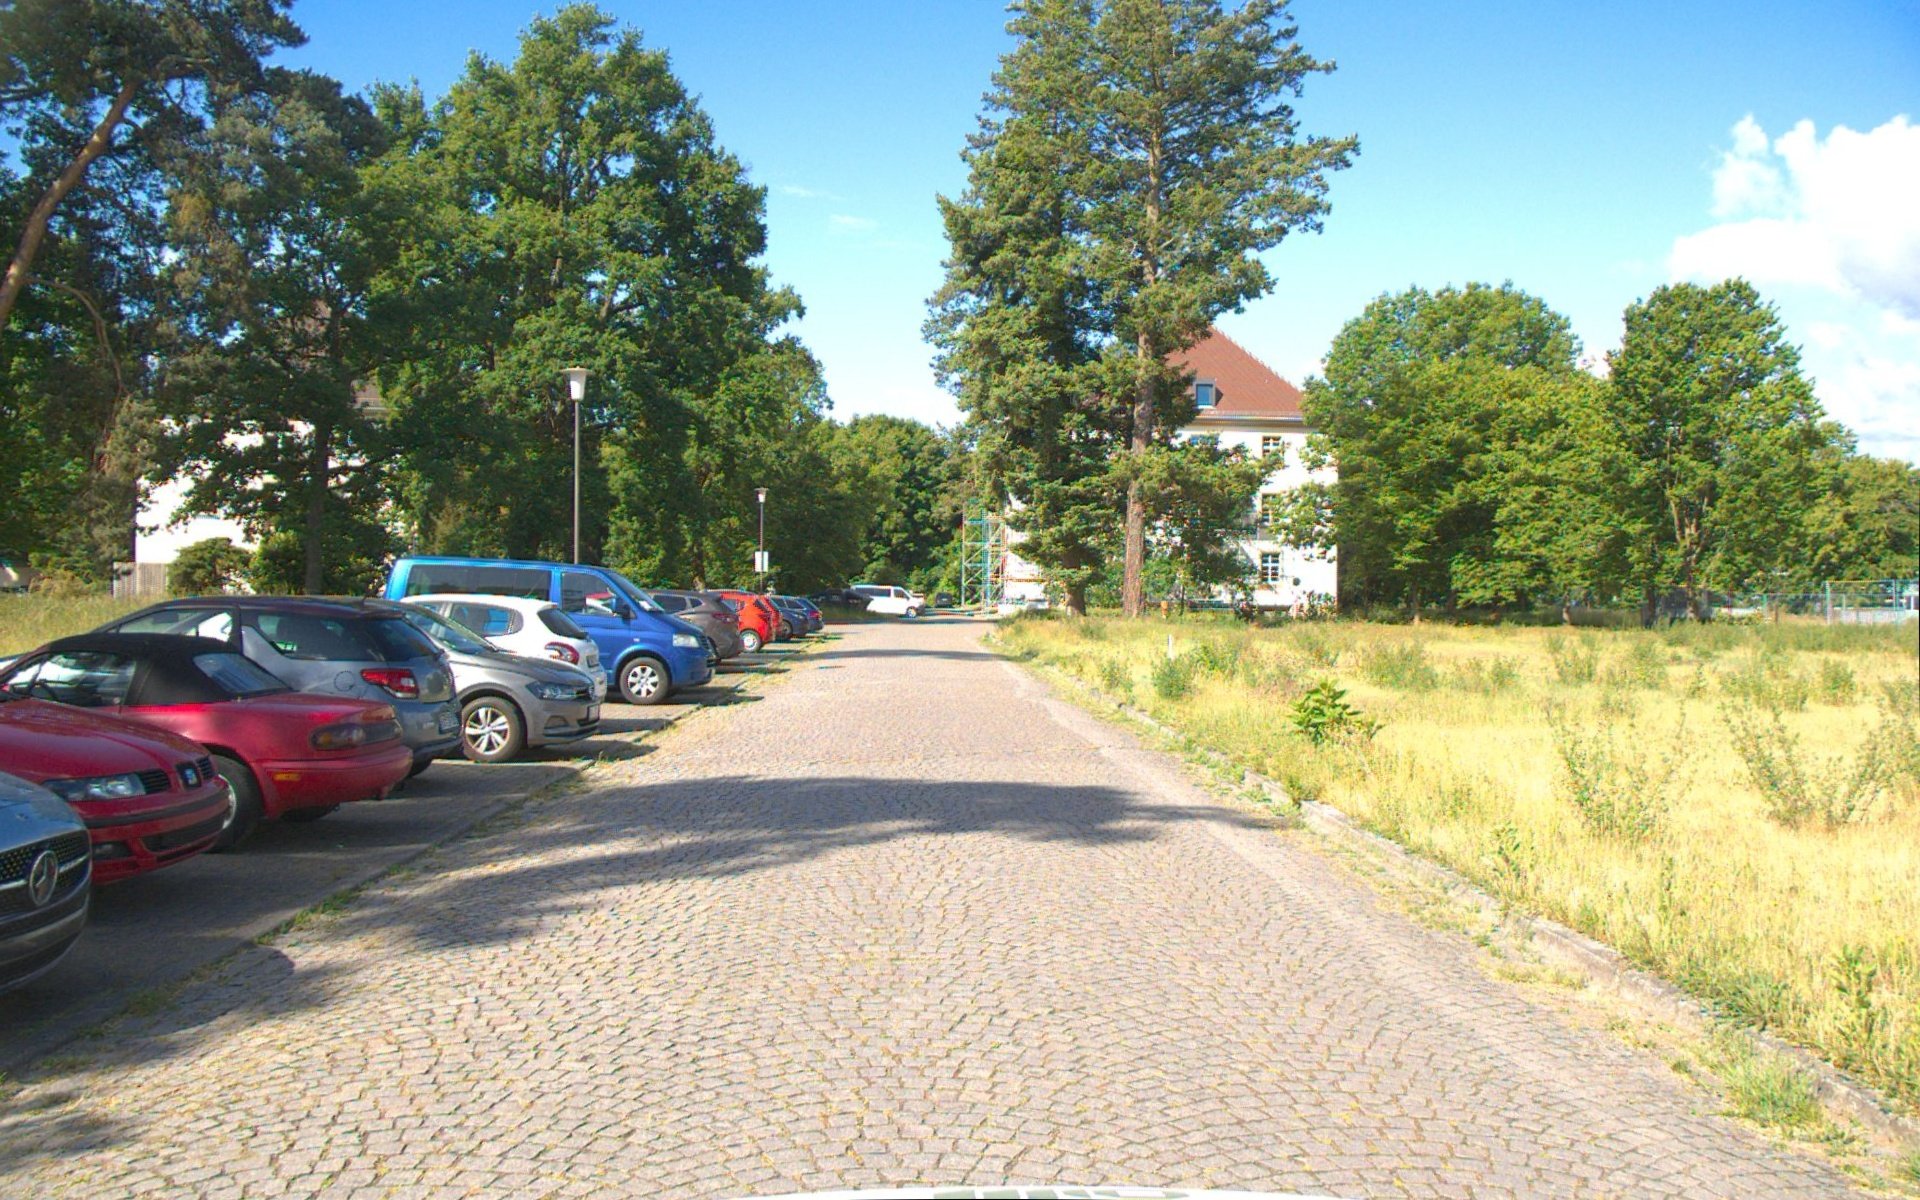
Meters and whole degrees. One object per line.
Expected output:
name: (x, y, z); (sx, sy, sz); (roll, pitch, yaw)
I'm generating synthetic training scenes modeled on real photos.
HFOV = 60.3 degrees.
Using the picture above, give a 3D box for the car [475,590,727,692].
car: (-5.736, 0.642, 26.765); (3.741, 1.465, 1.681); (2, 0, -5)

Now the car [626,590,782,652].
car: (-6.677, 0.540, 43.396); (3.845, 1.486, 1.841); (2, 0, -4)

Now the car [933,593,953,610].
car: (-1.804, 0.163, 173.781); (1.931, 1.697, 4.084); (0, 0, -2)

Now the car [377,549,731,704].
car: (-5.814, 0.374, 24.150); (4.623, 2.002, 2.004); (2, 0, -2)

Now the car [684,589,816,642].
car: (-6.772, 0.482, 53.678); (4.052, 1.607, 1.884); (1, 0, -2)

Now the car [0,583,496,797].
car: (-5.945, 0.662, 13.086); (3.994, 1.477, 1.821); (2, -1, -1)

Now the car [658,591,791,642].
car: (-7.266, 0.505, 51.262); (3.843, 1.458, 1.842); (1, 0, -1)

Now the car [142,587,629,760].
car: (-5.408, 0.660, 15.993); (3.994, 1.450, 1.922); (2, 0, -1)

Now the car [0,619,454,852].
car: (-5.264, 0.786, 10.442); (3.557, 1.256, 1.759); (2, -1, -1)

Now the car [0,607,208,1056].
car: (-5.486, 0.688, 5.777); (4.766, 1.446, 1.938); (2, -1, -2)

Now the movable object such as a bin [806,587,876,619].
movable object such as a bin: (-6.778, 0.170, 94.159); (3.490, 1.775, 2.026); (0, 0, 17)

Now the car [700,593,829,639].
car: (-6.874, 0.555, 58.359); (4.270, 1.470, 1.921); (1, 0, 1)

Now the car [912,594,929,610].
car: (-4.150, 0.207, 173.392); (1.776, 1.607, 4.133); (0, 0, -2)

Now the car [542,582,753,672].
car: (-6.181, 0.523, 33.084); (3.875, 1.595, 1.973); (2, 1, -4)

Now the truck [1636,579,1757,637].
truck: (33.641, 0.355, 75.830); (2.188, 2.466, 6.882); (2, 0, -3)

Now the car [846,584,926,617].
car: (-4.794, 0.029, 107.335); (5.129, 2.051, 1.949); (1, 0, -3)

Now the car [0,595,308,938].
car: (-5.988, 0.674, 8.102); (4.766, 1.445, 1.938); (2, 0, -2)

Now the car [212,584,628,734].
car: (-6.030, 0.634, 18.853); (4.112, 1.501, 1.823); (2, 0, -2)
